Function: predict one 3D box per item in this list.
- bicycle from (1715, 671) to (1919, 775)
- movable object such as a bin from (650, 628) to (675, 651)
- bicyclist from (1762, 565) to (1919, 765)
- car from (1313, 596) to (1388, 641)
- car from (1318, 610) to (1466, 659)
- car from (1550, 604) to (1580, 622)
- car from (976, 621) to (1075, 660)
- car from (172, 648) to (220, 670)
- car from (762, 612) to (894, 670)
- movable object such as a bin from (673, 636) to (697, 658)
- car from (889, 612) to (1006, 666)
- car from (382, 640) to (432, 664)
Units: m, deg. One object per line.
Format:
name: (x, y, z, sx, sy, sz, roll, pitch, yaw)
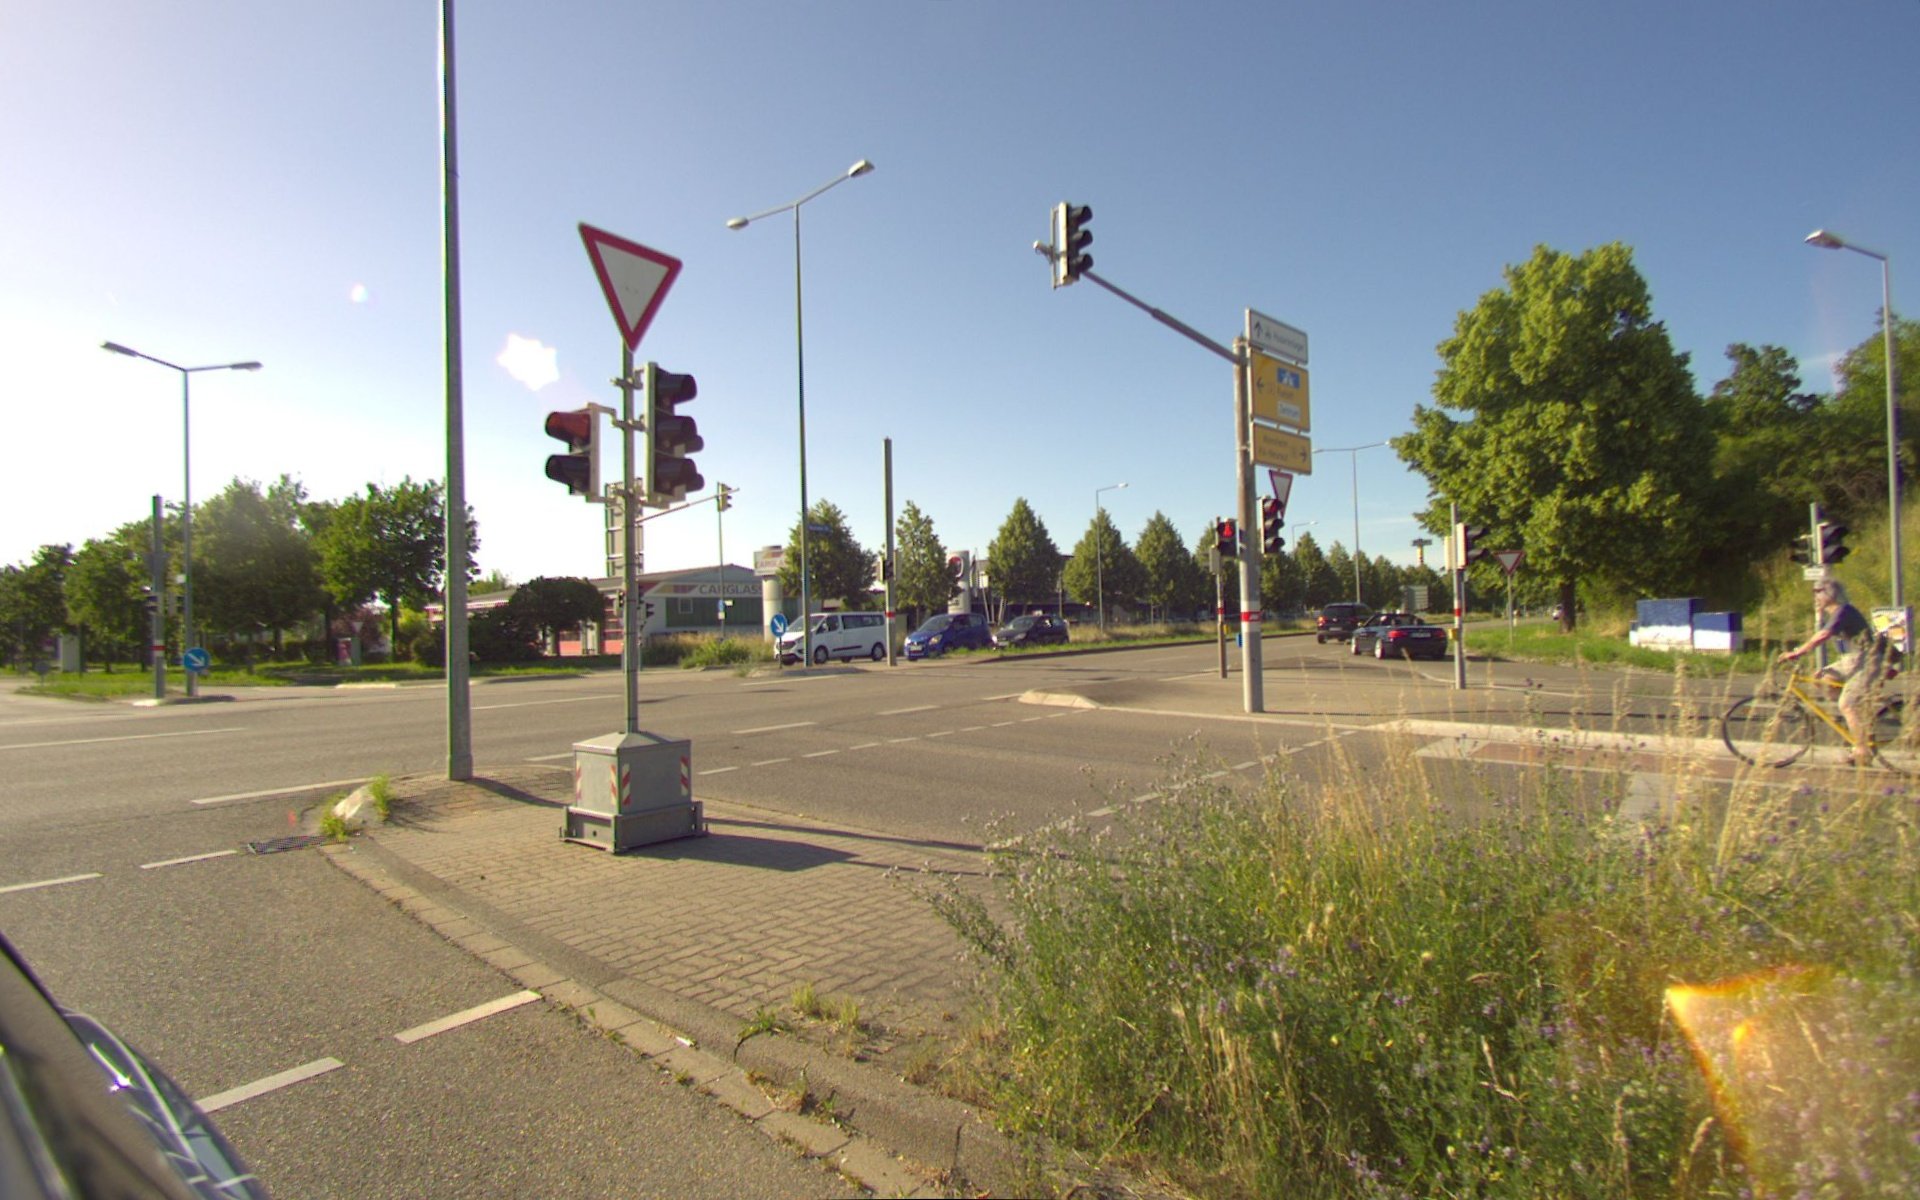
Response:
bicycle: (8.168, 1.096, 9.236, 1.988, 0.854, 0.741, -3, -2, 40)
movable object such as a bin: (-18.245, 2.419, 62.123, 0.993, 1.308, 1.115, -4, -3, 43)
bicyclist: (8.155, 0.576, 9.239, 1.241, 1.715, 0.737, -3, -2, 40)
car: (16.130, 0.754, 41.687, 1.830, 1.639, 3.951, -3, -1, 37)
car: (12.663, 0.961, 30.058, 2.016, 1.319, 4.689, 0, 0, -6)
car: (61.450, 1.328, 102.770, 2.044, 1.628, 4.362, -5, -4, 37)
car: (2.554, 1.519, 38.635, 1.890, 1.284, 3.989, -5, -4, 37)
car: (-80.874, 6.206, 107.089, 3.937, 2.029, 2.004, -3, -1, -39)
car: (-5.087, 1.573, 39.712, 2.044, 2.029, 5.210, -5, -4, 36)
movable object such as a bin: (-17.300, 2.934, 63.628, 0.993, 1.308, 1.115, -4, -3, 43)
car: (-0.377, 1.303, 34.313, 1.890, 1.656, 3.989, -5, -4, 37)
car: (-56.982, 5.357, 104.372, 1.776, 2.234, 4.158, -4, -3, 40)
